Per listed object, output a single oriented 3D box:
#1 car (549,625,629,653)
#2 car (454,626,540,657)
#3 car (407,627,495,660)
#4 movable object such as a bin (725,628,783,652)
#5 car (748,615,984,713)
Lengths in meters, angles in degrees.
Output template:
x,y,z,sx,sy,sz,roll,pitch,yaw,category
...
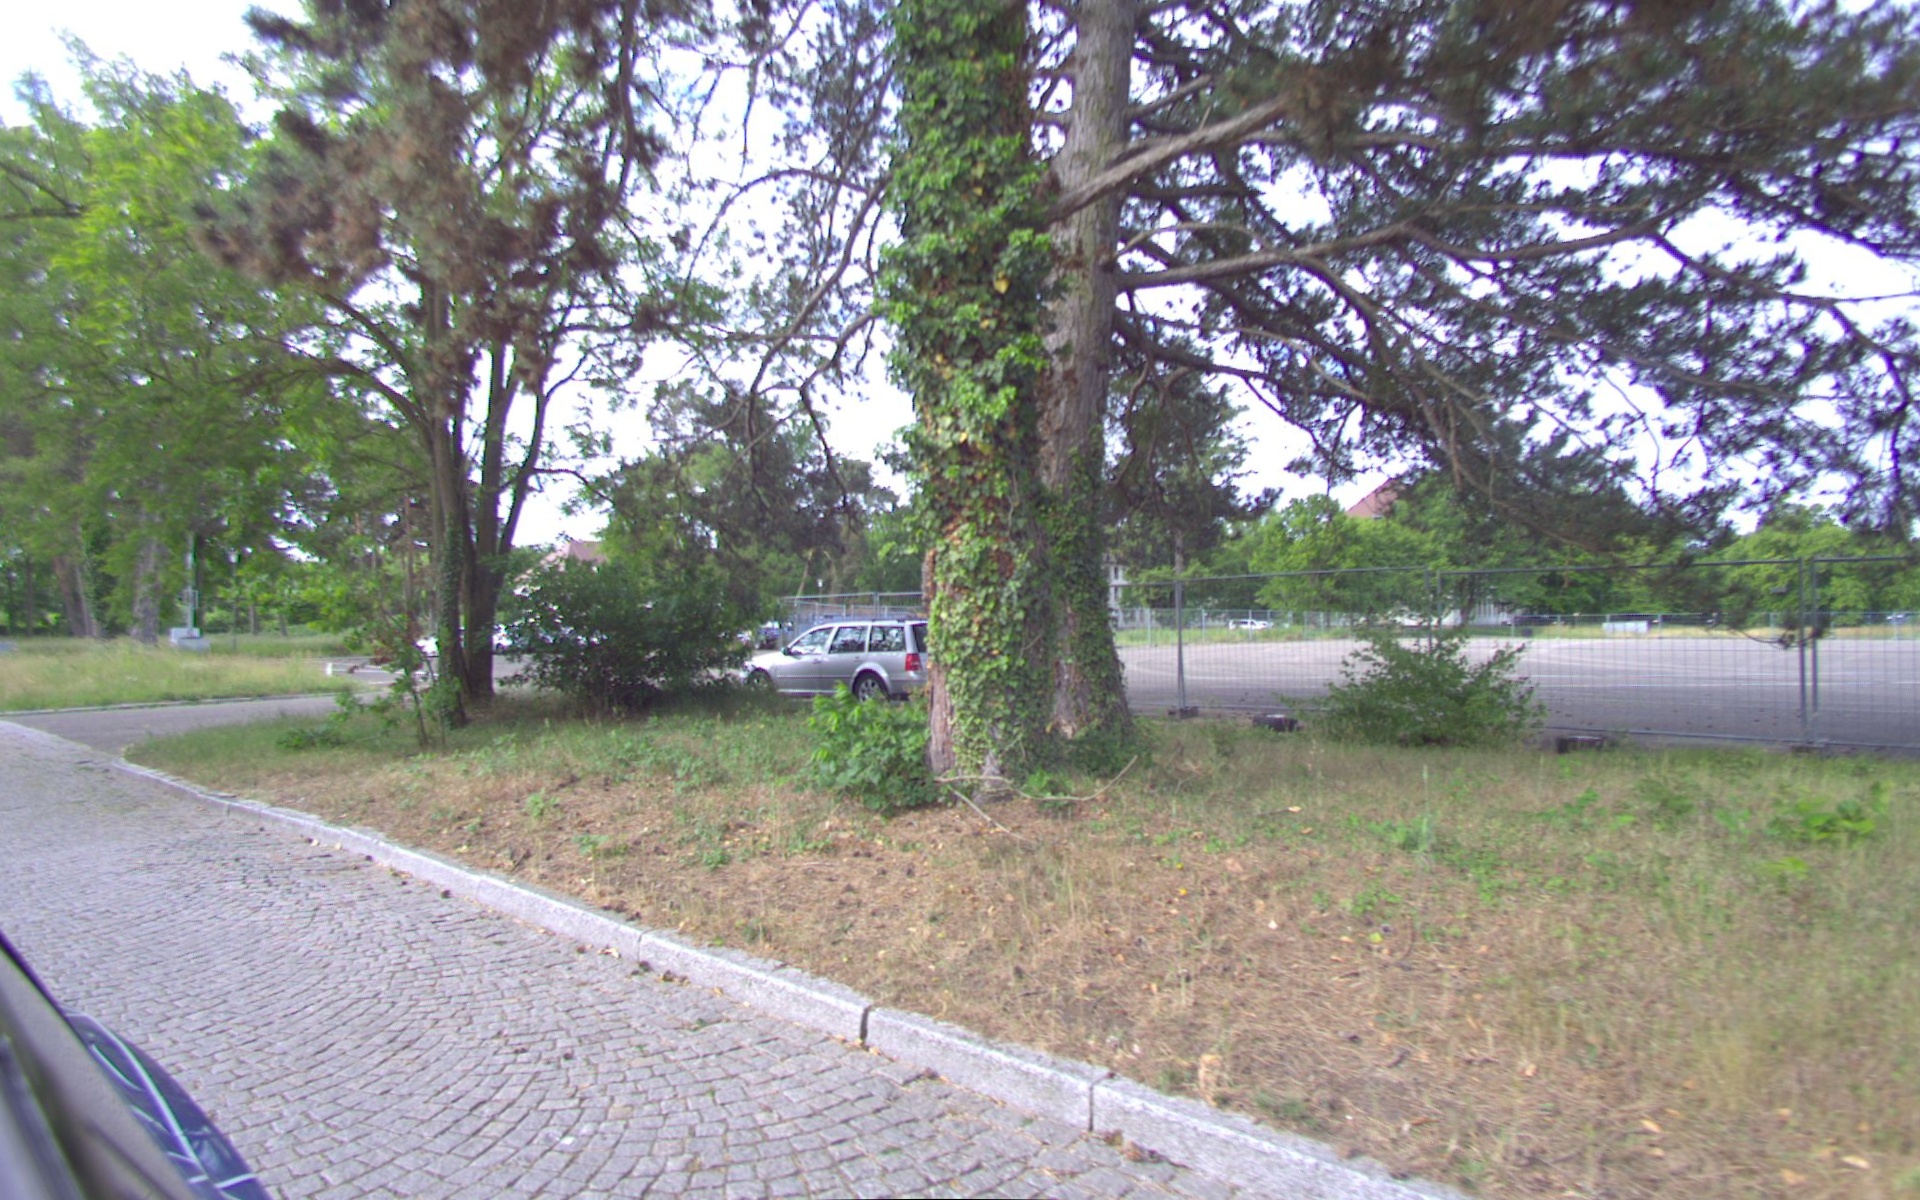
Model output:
x,y,z,sx,sy,sz,roll,pitch,yaw,category
-20.227,2.103,55.095,4.444,1.460,1.976,-2,-2,36,car
-23.127,2.076,50.490,4.444,1.460,1.976,-2,-2,36,car
-24.310,2.061,48.255,4.444,1.460,1.976,-2,-2,36,car
-9.734,1.897,47.731,2.711,1.079,1.046,-2,-2,31,movable object such as a bin
-1.593,0.994,16.571,3.717,1.421,1.650,-2,-2,37,car
